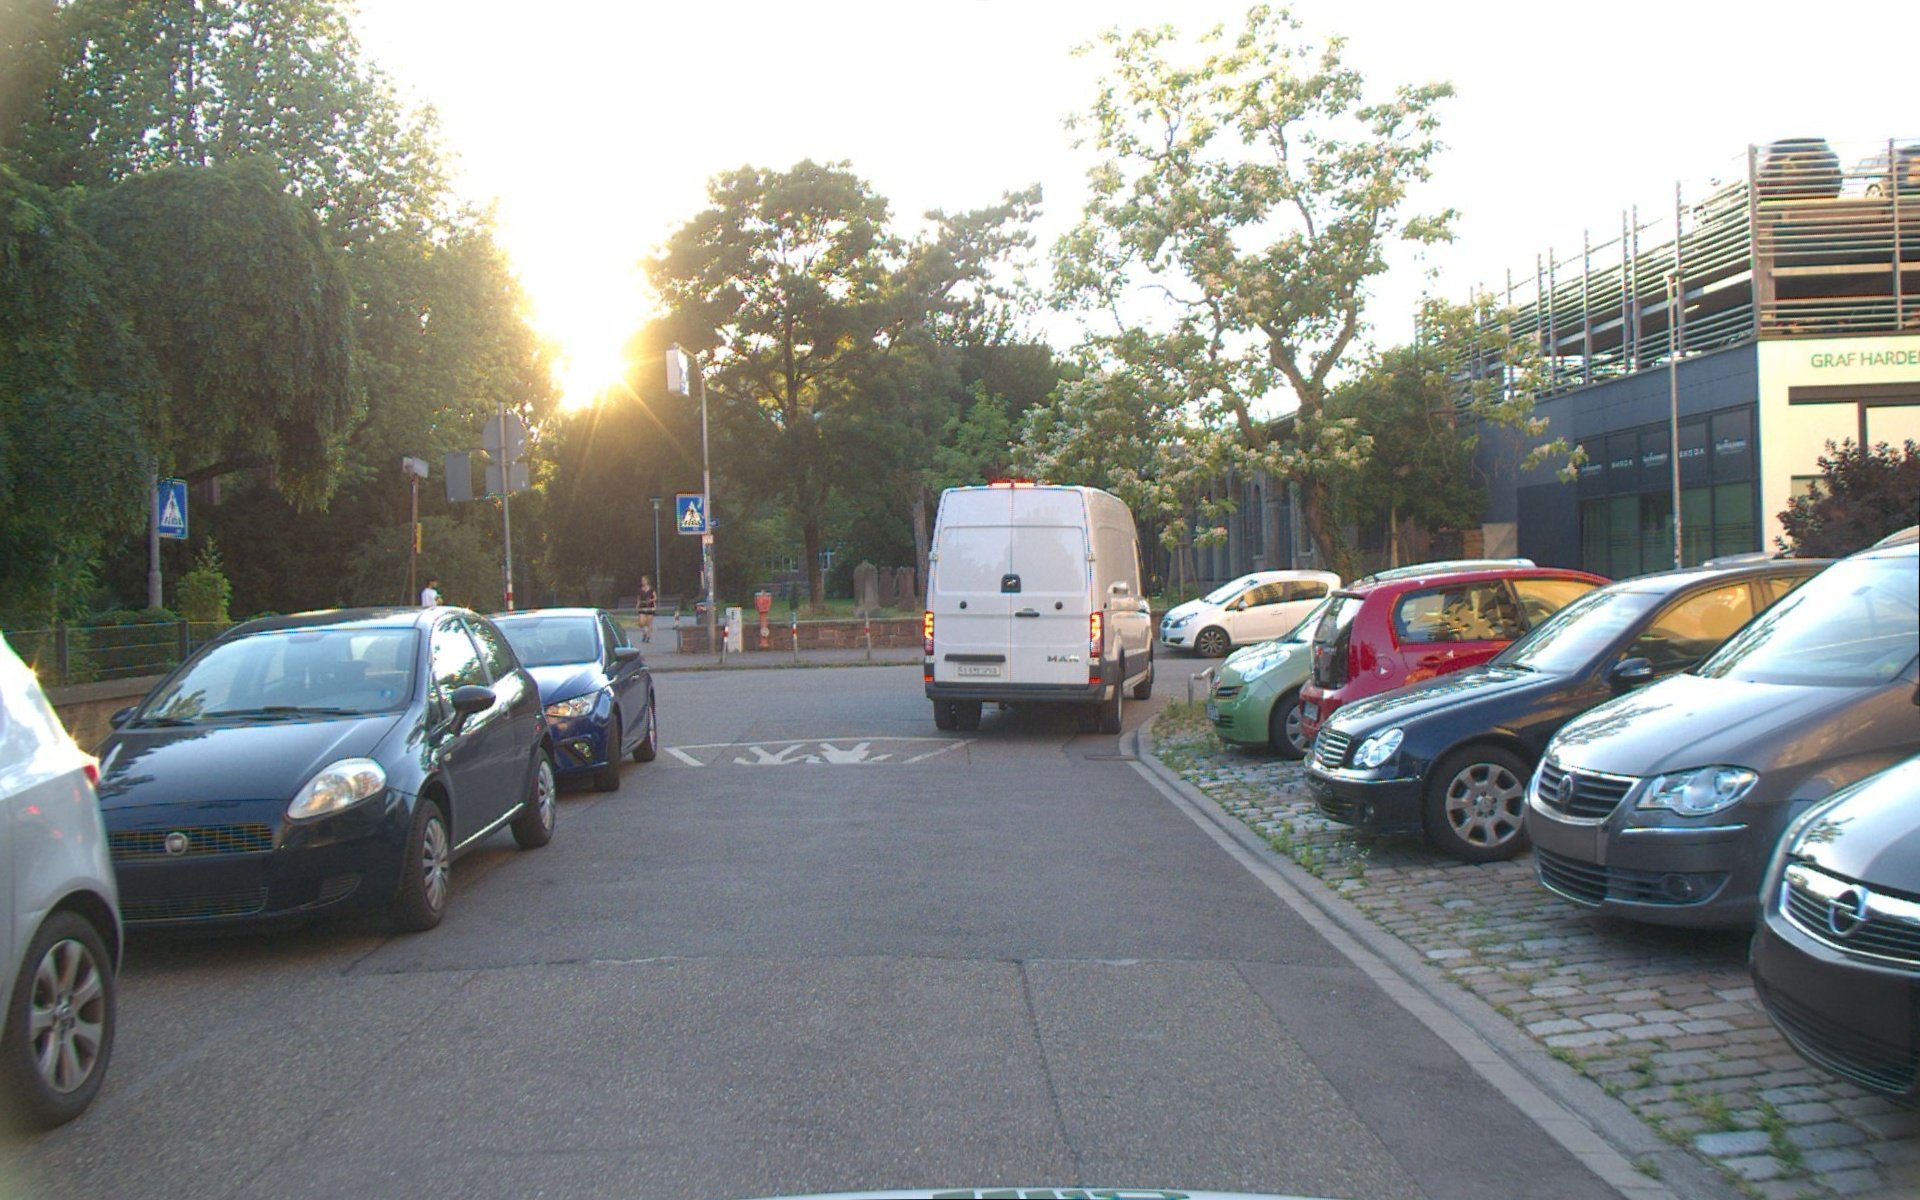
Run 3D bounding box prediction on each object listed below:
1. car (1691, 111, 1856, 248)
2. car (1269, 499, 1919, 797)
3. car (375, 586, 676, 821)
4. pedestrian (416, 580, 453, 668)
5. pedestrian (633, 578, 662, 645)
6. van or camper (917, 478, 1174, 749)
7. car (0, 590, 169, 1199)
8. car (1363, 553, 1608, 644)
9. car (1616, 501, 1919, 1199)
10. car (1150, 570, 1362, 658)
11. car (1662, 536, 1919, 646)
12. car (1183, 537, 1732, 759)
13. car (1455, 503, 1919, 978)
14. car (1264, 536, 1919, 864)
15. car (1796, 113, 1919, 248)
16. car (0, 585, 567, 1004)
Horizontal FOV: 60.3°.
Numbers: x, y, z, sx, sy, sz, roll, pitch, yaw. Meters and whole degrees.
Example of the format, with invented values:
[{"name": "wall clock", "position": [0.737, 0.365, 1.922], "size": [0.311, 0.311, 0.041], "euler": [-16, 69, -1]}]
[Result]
[{"name": "car", "position": [18.322, -9.439, 37.455], "size": [1.952, 2.049, 4.002], "euler": [-1, 0, 4]}, {"name": "car", "position": [4.719, 0.324, 12.493], "size": [4.315, 1.659, 1.846], "euler": [-6, 0, 1]}, {"name": "car", "position": [-3.475, 0.732, 13.901], "size": [1.699, 1.594, 3.788], "euler": [-3, 1, -4]}, {"name": "pedestrian", "position": [-11.175, 0.501, 35.173], "size": [0.581, 1.840, 0.621], "euler": [0, 0, 0]}, {"name": "pedestrian", "position": [-7.903, 0.276, 41.850], "size": [0.633, 1.677, 0.674], "euler": [0, 1, -1]}, {"name": "van or camper", "position": [1.245, 0.096, 19.764], "size": [1.951, 2.664, 6.408], "euler": [2, 1, 13]}, {"name": "car", "position": [-3.316, 0.830, 3.259], "size": [1.699, 1.594, 4.126], "euler": [-3, 1, -4]}, {"name": "car", "position": [10.245, -0.040, 32.492], "size": [4.203, 1.529, 1.824], "euler": [-3, 0, 3]}, {"name": "car", "position": [4.345, 0.467, 4.599], "size": [4.241, 1.690, 1.780], "euler": [-4, -1, -4]}, {"name": "car", "position": [5.811, 0.252, 32.765], "size": [3.778, 1.601, 1.957], "euler": [-1, 1, -3]}, {"name": "car", "position": [13.567, -0.156, 26.581], "size": [3.757, 1.550, 1.824], "euler": [-3, 0, 3]}, {"name": "car", "position": [4.366, 0.420, 14.957], "size": [4.317, 1.660, 1.844], "euler": [-3, -1, -4]}, {"name": "car", "position": [4.666, 0.419, 7.250], "size": [4.318, 1.690, 1.844], "euler": [-4, -1, -4]}, {"name": "car", "position": [4.180, 0.509, 9.758], "size": [4.317, 1.558, 1.844], "euler": [-3, -1, -4]}, {"name": "car", "position": [20.845, -9.444, 37.486], "size": [1.952, 2.049, 4.002], "euler": [-1, 0, 4]}, {"name": "car", "position": [-3.239, 0.768, 8.555], "size": [1.699, 1.594, 3.694], "euler": [-3, 1, -4]}]
